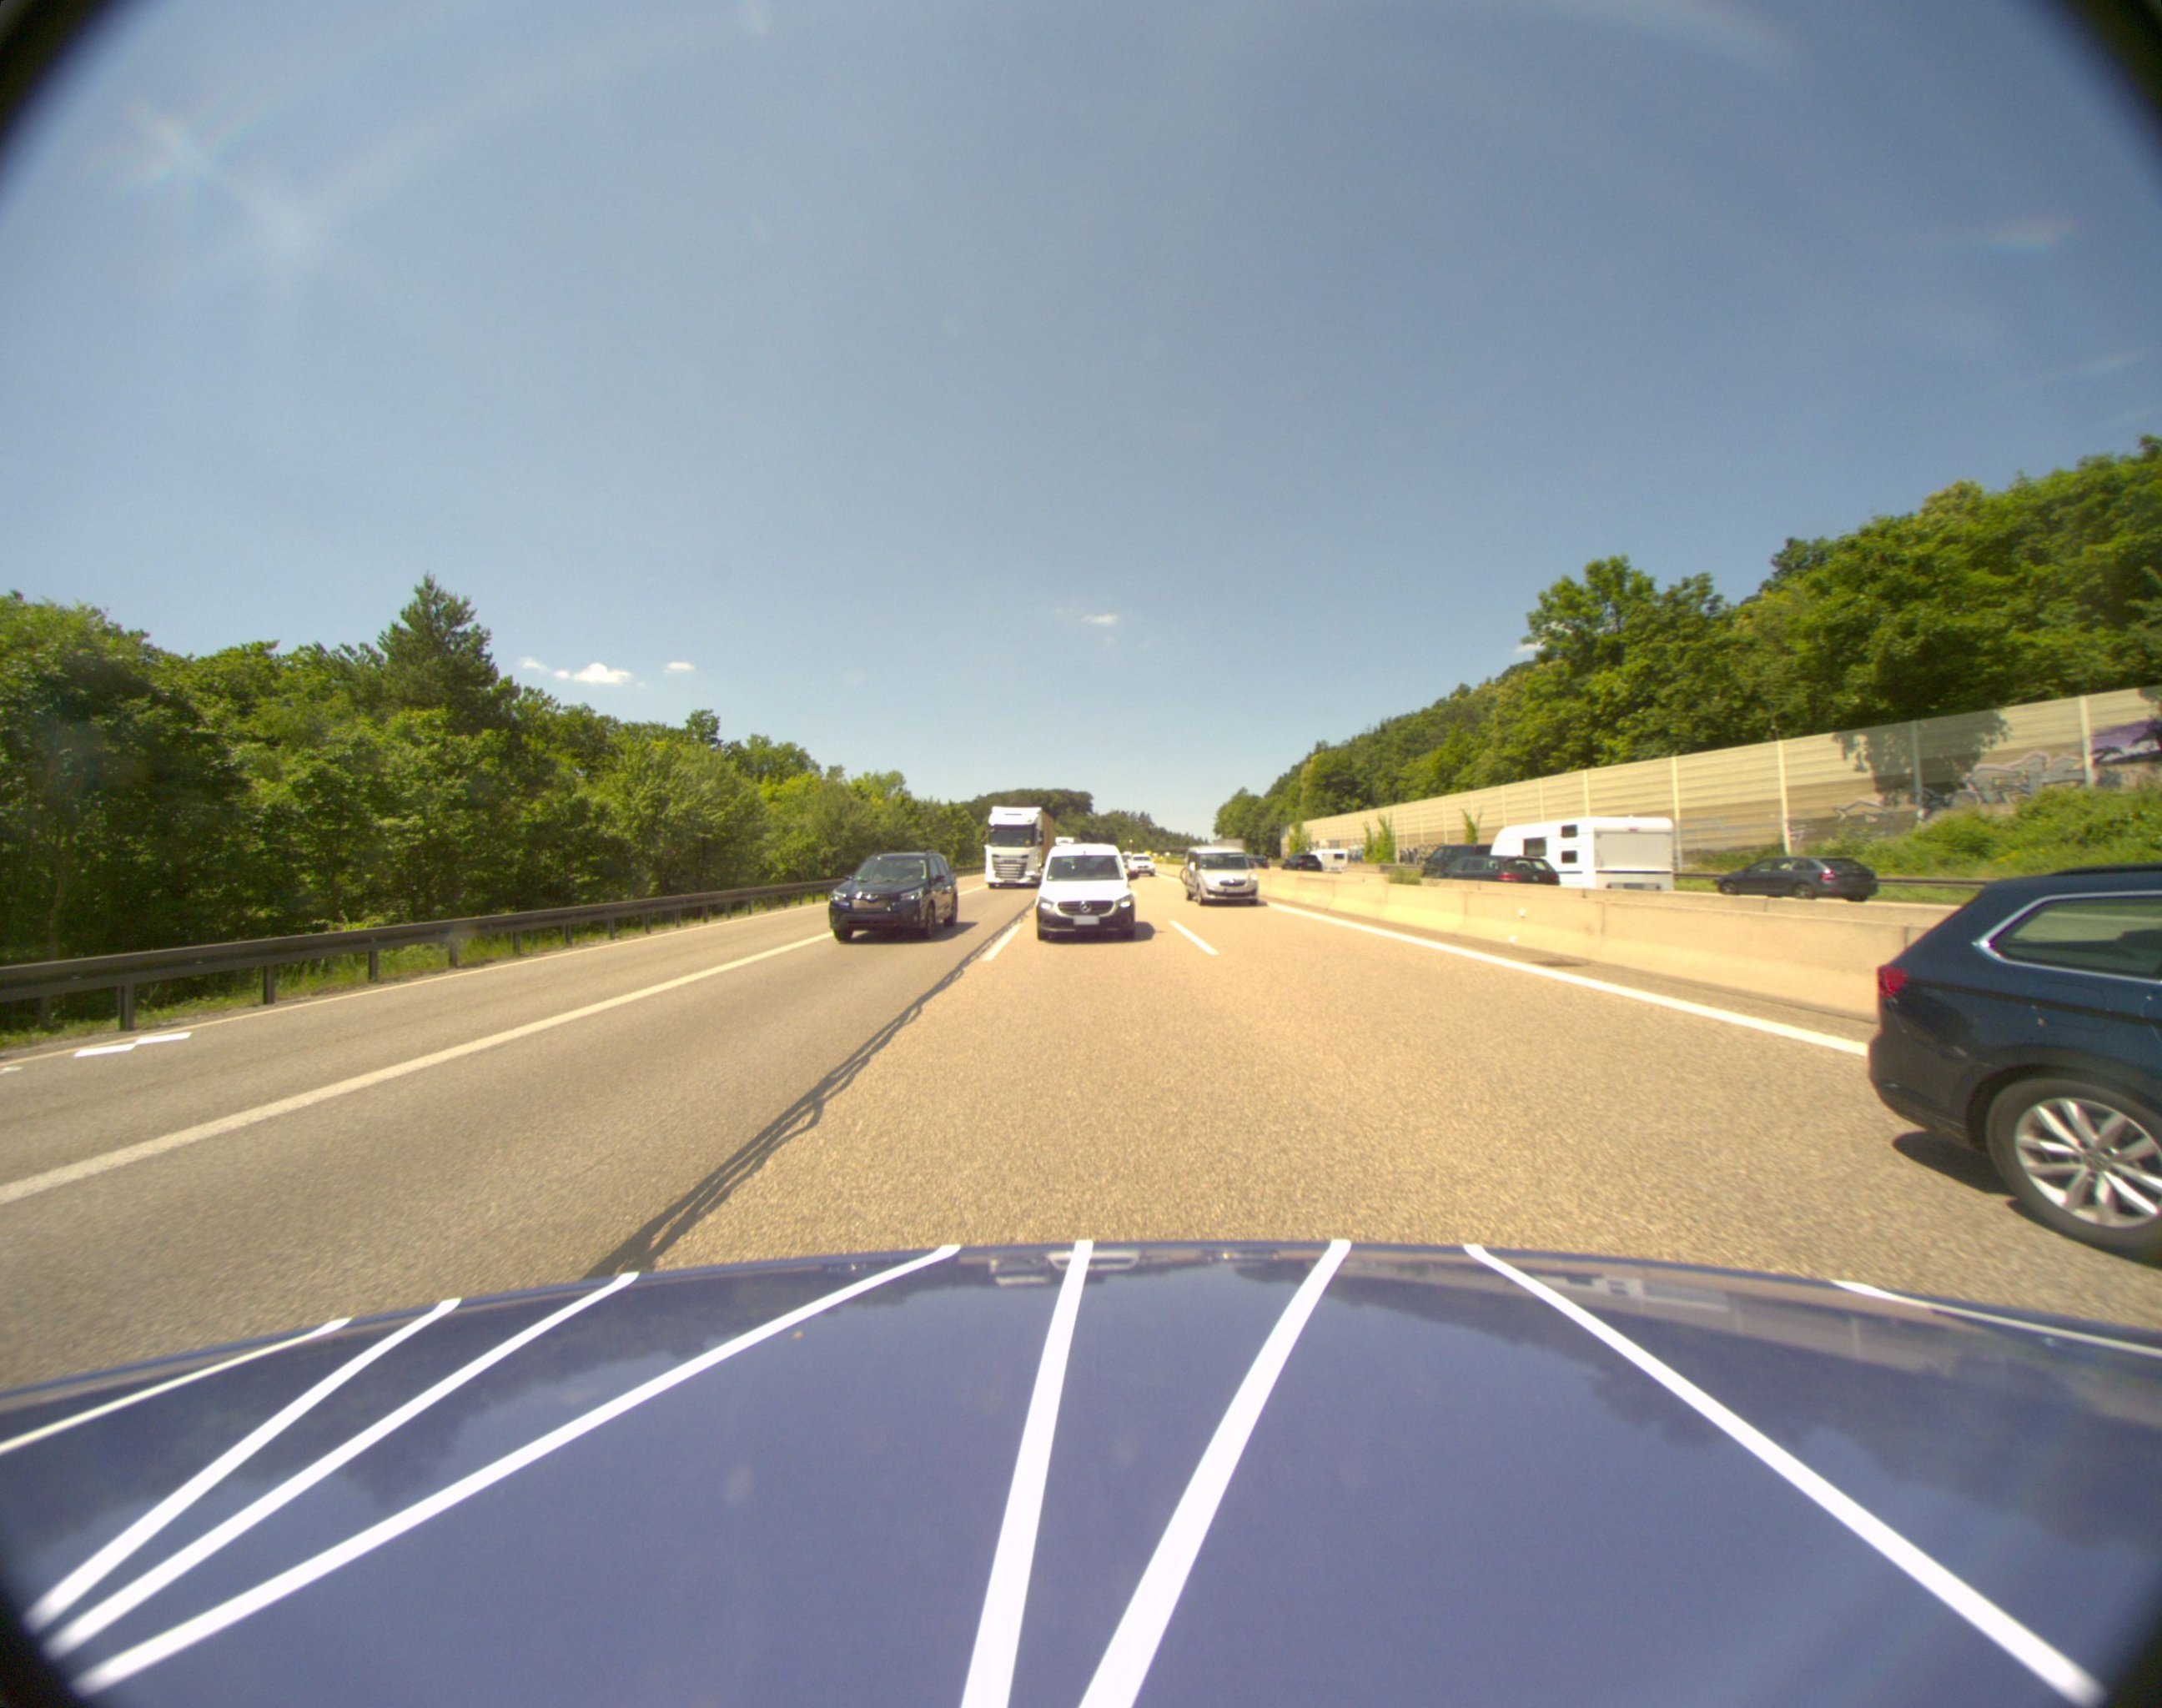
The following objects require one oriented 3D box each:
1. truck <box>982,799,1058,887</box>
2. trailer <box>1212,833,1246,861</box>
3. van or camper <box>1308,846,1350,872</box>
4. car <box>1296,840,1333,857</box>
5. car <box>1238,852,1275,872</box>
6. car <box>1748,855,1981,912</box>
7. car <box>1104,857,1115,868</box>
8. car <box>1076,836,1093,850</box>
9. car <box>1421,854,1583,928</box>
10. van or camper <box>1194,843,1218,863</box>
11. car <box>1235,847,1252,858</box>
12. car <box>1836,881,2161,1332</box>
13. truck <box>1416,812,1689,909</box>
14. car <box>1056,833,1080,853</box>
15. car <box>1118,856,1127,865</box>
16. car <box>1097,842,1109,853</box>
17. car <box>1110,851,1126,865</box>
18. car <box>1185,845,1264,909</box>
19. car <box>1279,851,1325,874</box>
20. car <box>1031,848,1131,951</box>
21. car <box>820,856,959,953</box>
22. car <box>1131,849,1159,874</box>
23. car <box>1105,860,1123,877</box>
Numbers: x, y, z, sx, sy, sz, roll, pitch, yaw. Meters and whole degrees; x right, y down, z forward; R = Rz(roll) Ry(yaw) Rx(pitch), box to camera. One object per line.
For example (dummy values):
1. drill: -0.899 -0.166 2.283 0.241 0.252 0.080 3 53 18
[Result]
1. truck: -3.137 -0.512 44.116 2.790 4.144 16.268 -1 0 1
2. trailer: 21.657 -1.066 111.943 2.819 3.885 13.827 0 1 2
3. van or camper: 19.235 0.404 59.125 2.081 1.965 3.704 0 0 0
4. car: 19.767 -0.473 64.532 1.805 1.339 4.723 -1 0 1
5. car: 12.192 0.529 52.960 1.618 1.368 4.270 -1 0 1
6. car: 22.410 0.757 22.078 1.952 1.427 4.693 0 1 1
7. car: 5.051 1.525 136.428 1.902 2.002 4.000 0 0 2
8. car: 0.648 -1.945 138.668 2.721 2.534 5.941 0 1 3
9. car: 11.421 0.908 21.079 1.952 1.791 4.693 0 1 1
10. van or camper: 17.354 -0.151 106.124 2.275 2.720 6.805 0 1 0
11. car: 26.359 -0.269 123.570 1.814 1.800 5.107 0 0 1
12. car: 4.363 0.843 1.177 1.737 1.419 4.730 0 0 1
13. truck: 15.588 0.117 26.828 2.534 2.673 11.627 0 1 1
14. car: -1.617 -1.384 98.089 2.721 2.534 5.941 0 1 3
15. car: 9.497 1.384 173.482 1.998 2.002 4.001 0 0 3
16. car: 5.413 -1.552 183.431 2.721 2.534 5.941 0 1 3
17. car: 4.939 0.506 101.176 1.998 1.783 4.000 -1 0 0
18. car: 4.411 0.660 23.911 1.780 1.833 4.000 0 0 1
19. car: 16.024 0.591 55.304 1.930 1.630 4.928 -1 0 1
20. car: 0.144 0.770 15.272 1.729 1.760 4.314 0 1 4
21. car: -3.740 0.904 15.621 1.816 1.658 4.202 0 1 -1
22. car: 4.790 0.563 57.274 1.998 1.827 4.001 0 0 3
23. car: 3.915 1.697 90.566 1.998 2.002 4.000 0 0 1
